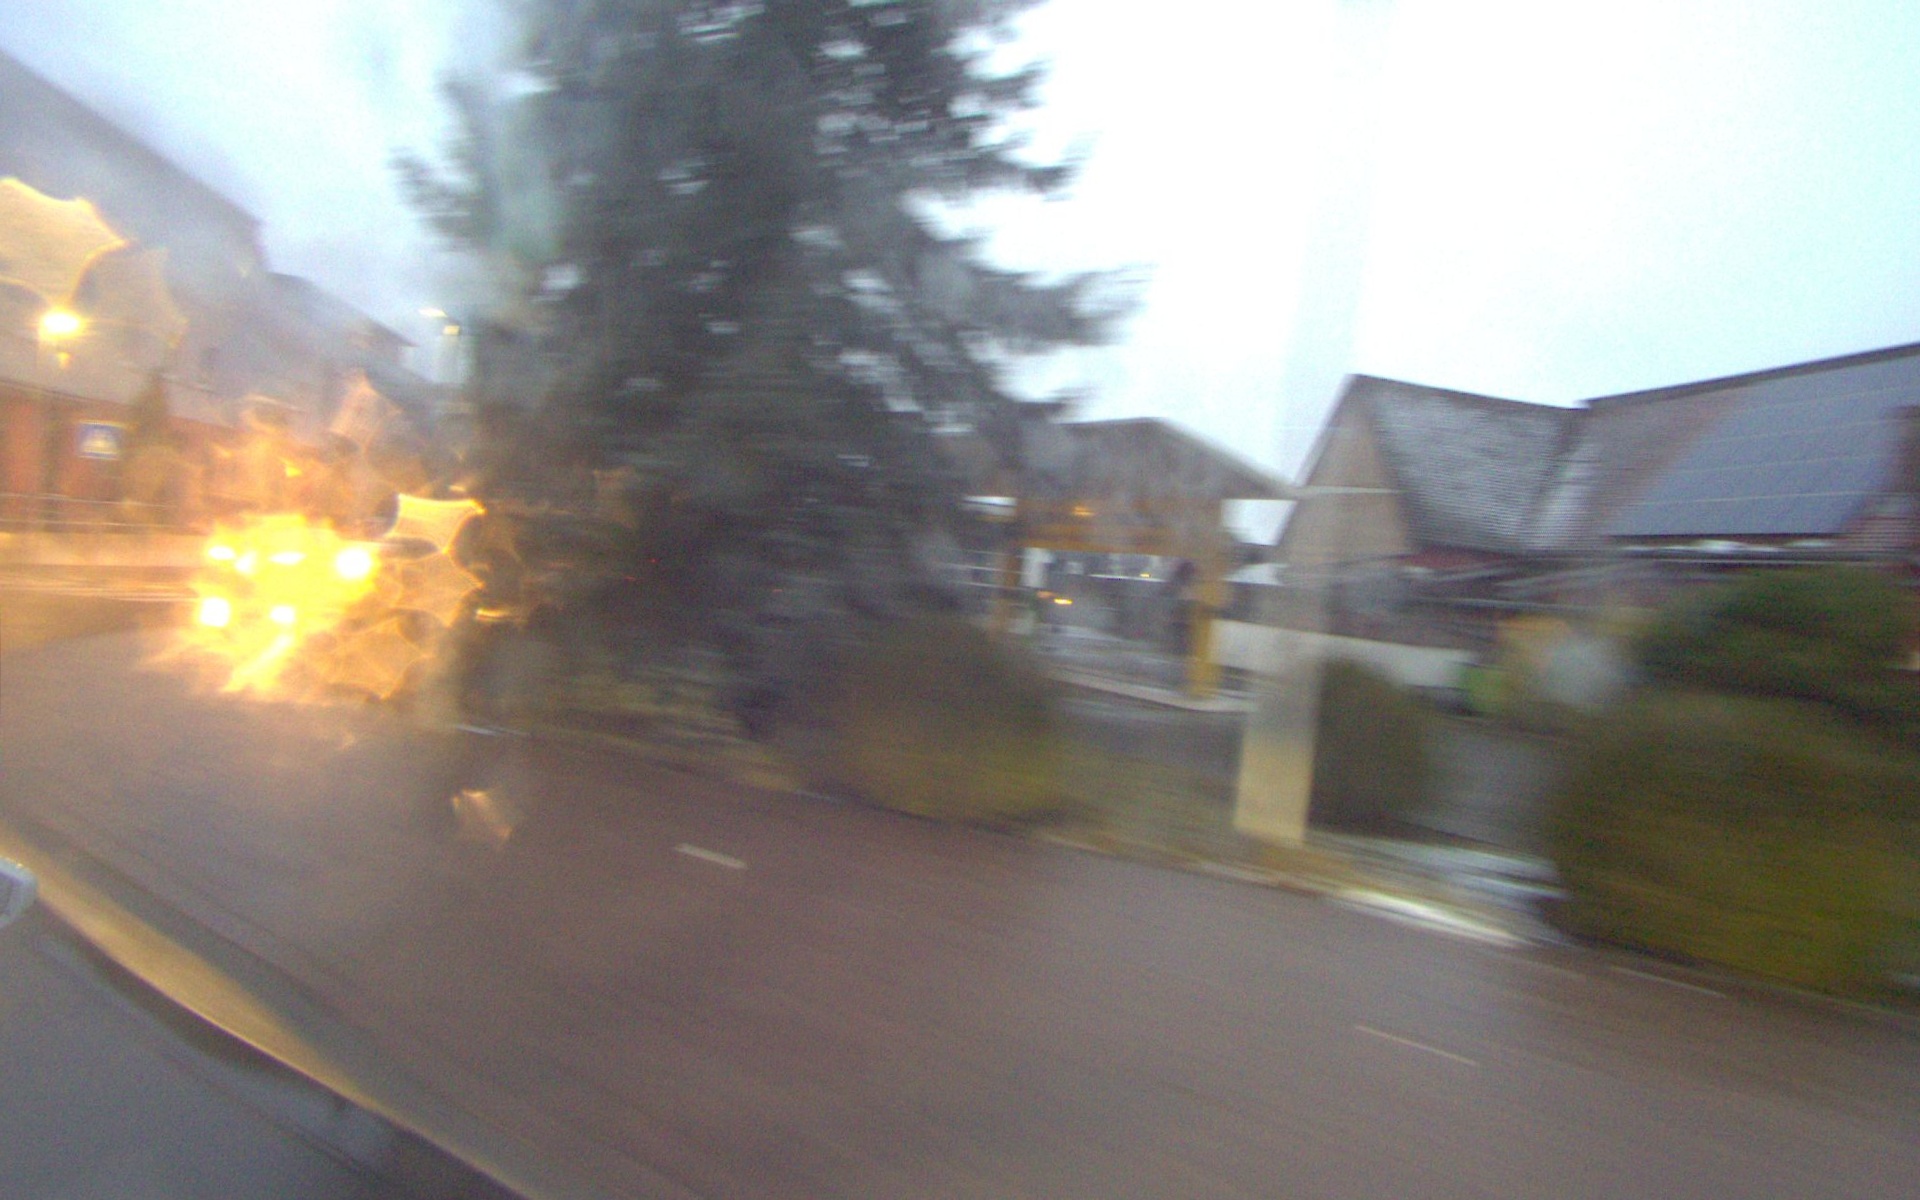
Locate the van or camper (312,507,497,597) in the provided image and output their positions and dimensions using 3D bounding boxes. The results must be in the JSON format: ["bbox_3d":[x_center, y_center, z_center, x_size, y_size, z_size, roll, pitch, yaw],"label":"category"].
[{"bbox_3d":[-18.917,-1.496,35.047,2.414,2.360,9.173,8,-1,-9],"label":"van or camper"}]

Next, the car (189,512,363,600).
[{"bbox_3d":[-17.053,-1.016,25.370,2.013,1.809,4.123,6,-1,-11],"label":"car"}]
